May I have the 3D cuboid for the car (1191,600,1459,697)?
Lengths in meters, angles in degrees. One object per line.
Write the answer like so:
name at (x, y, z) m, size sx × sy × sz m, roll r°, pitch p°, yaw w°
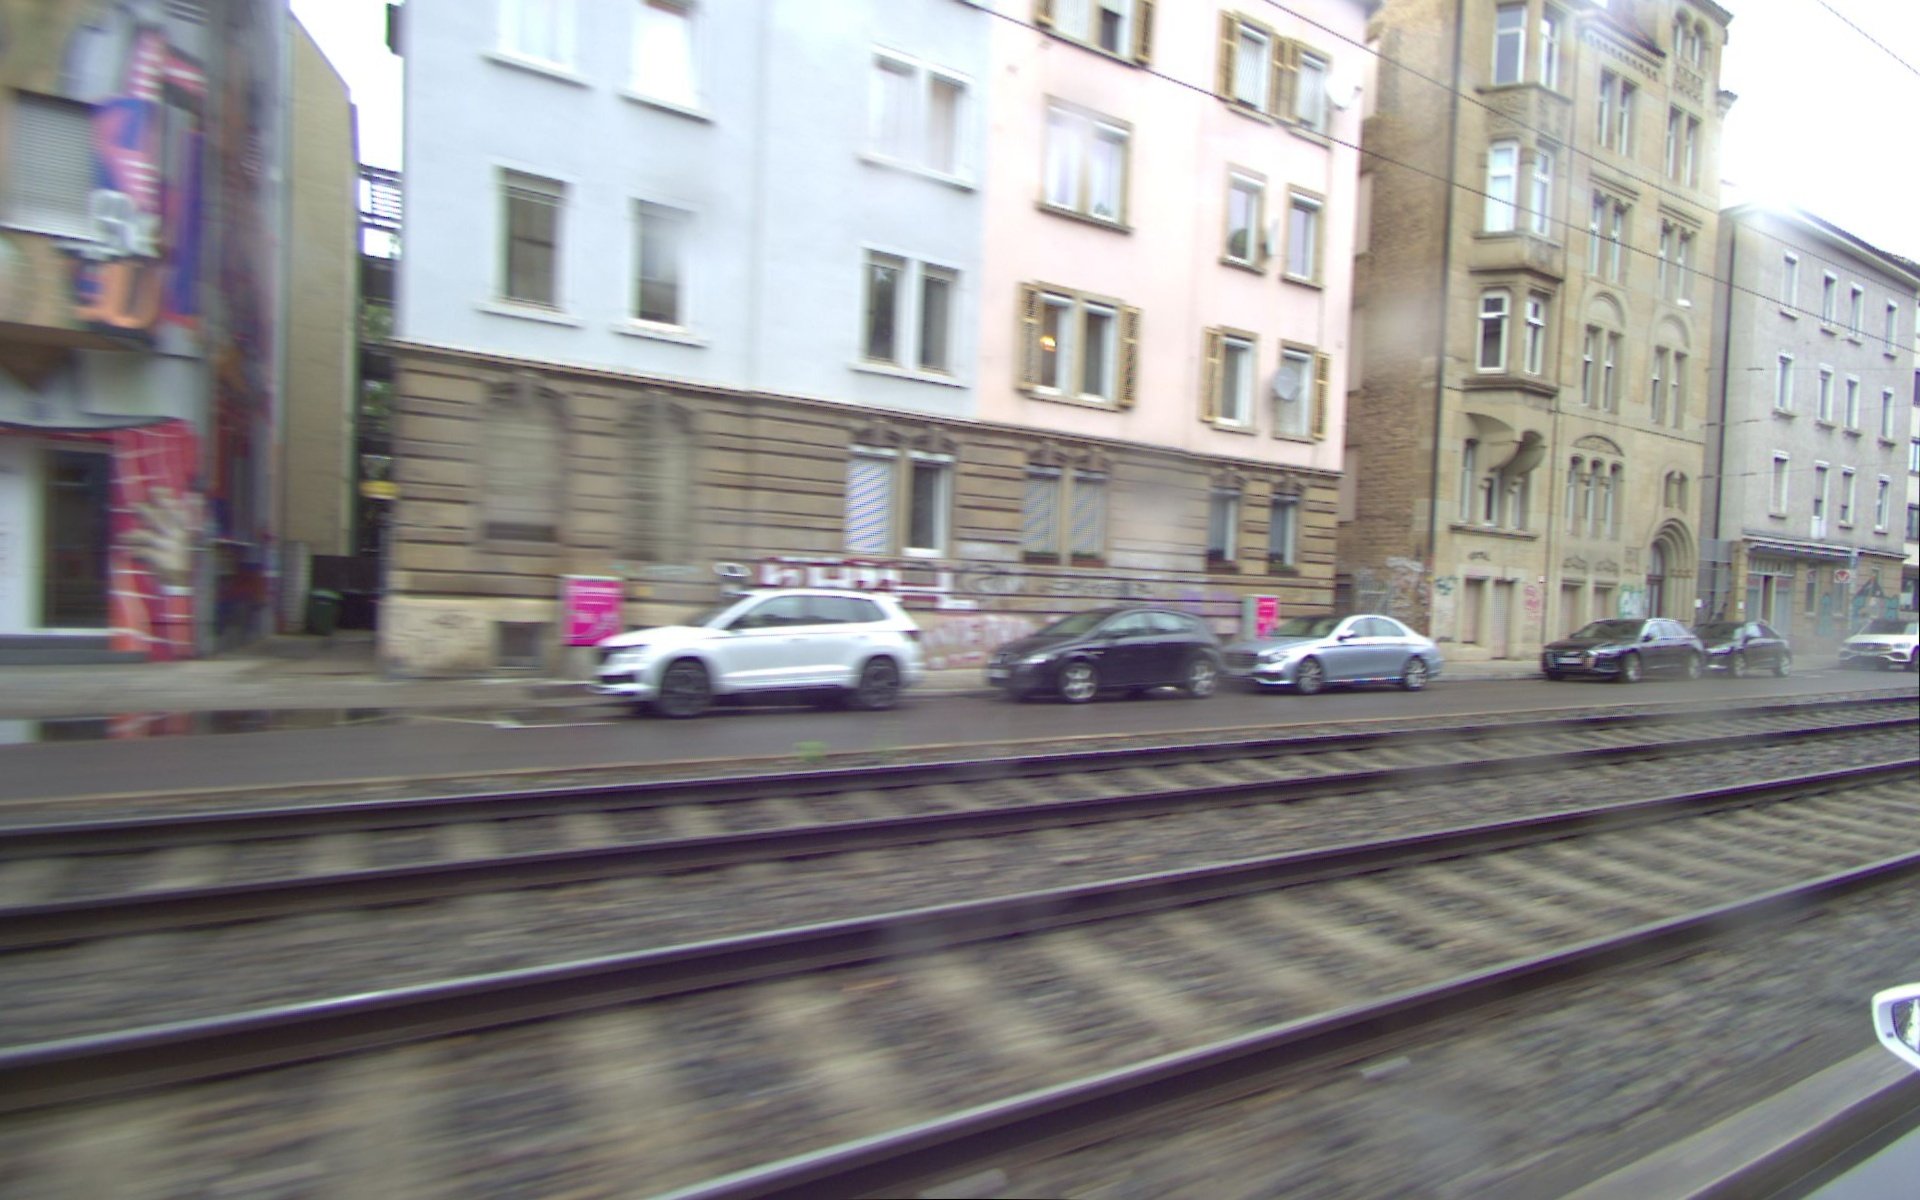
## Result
car at (6.876, 0.877, 18.764) m, size 4.934 × 1.539 × 1.984 m, roll 2°, pitch 1°, yaw -30°

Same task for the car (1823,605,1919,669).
car at (30.559, 1.218, 32.815) m, size 5.011 × 1.864 × 1.984 m, roll 2°, pitch 1°, yaw -30°

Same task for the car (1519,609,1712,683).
car at (15.717, 1.096, 24.041) m, size 4.621 × 1.539 × 1.984 m, roll 2°, pitch 1°, yaw -30°

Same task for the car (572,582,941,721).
car at (-2.660, 0.643, 13.364) m, size 4.383 × 1.539 × 1.984 m, roll 2°, pitch 1°, yaw -30°

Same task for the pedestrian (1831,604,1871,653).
pedestrian at (33.354, 1.080, 37.604) m, size 0.973 × 1.774 × 0.797 m, roll 2°, pitch 1°, yaw -31°

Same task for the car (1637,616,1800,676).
car at (20.256, 1.219, 26.799) m, size 4.188 × 1.394 × 1.984 m, roll 2°, pitch 1°, yaw -30°

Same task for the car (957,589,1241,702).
car at (2.254, 0.704, 16.118) m, size 4.160 × 1.539 × 1.984 m, roll 2°, pitch 1°, yaw -30°
